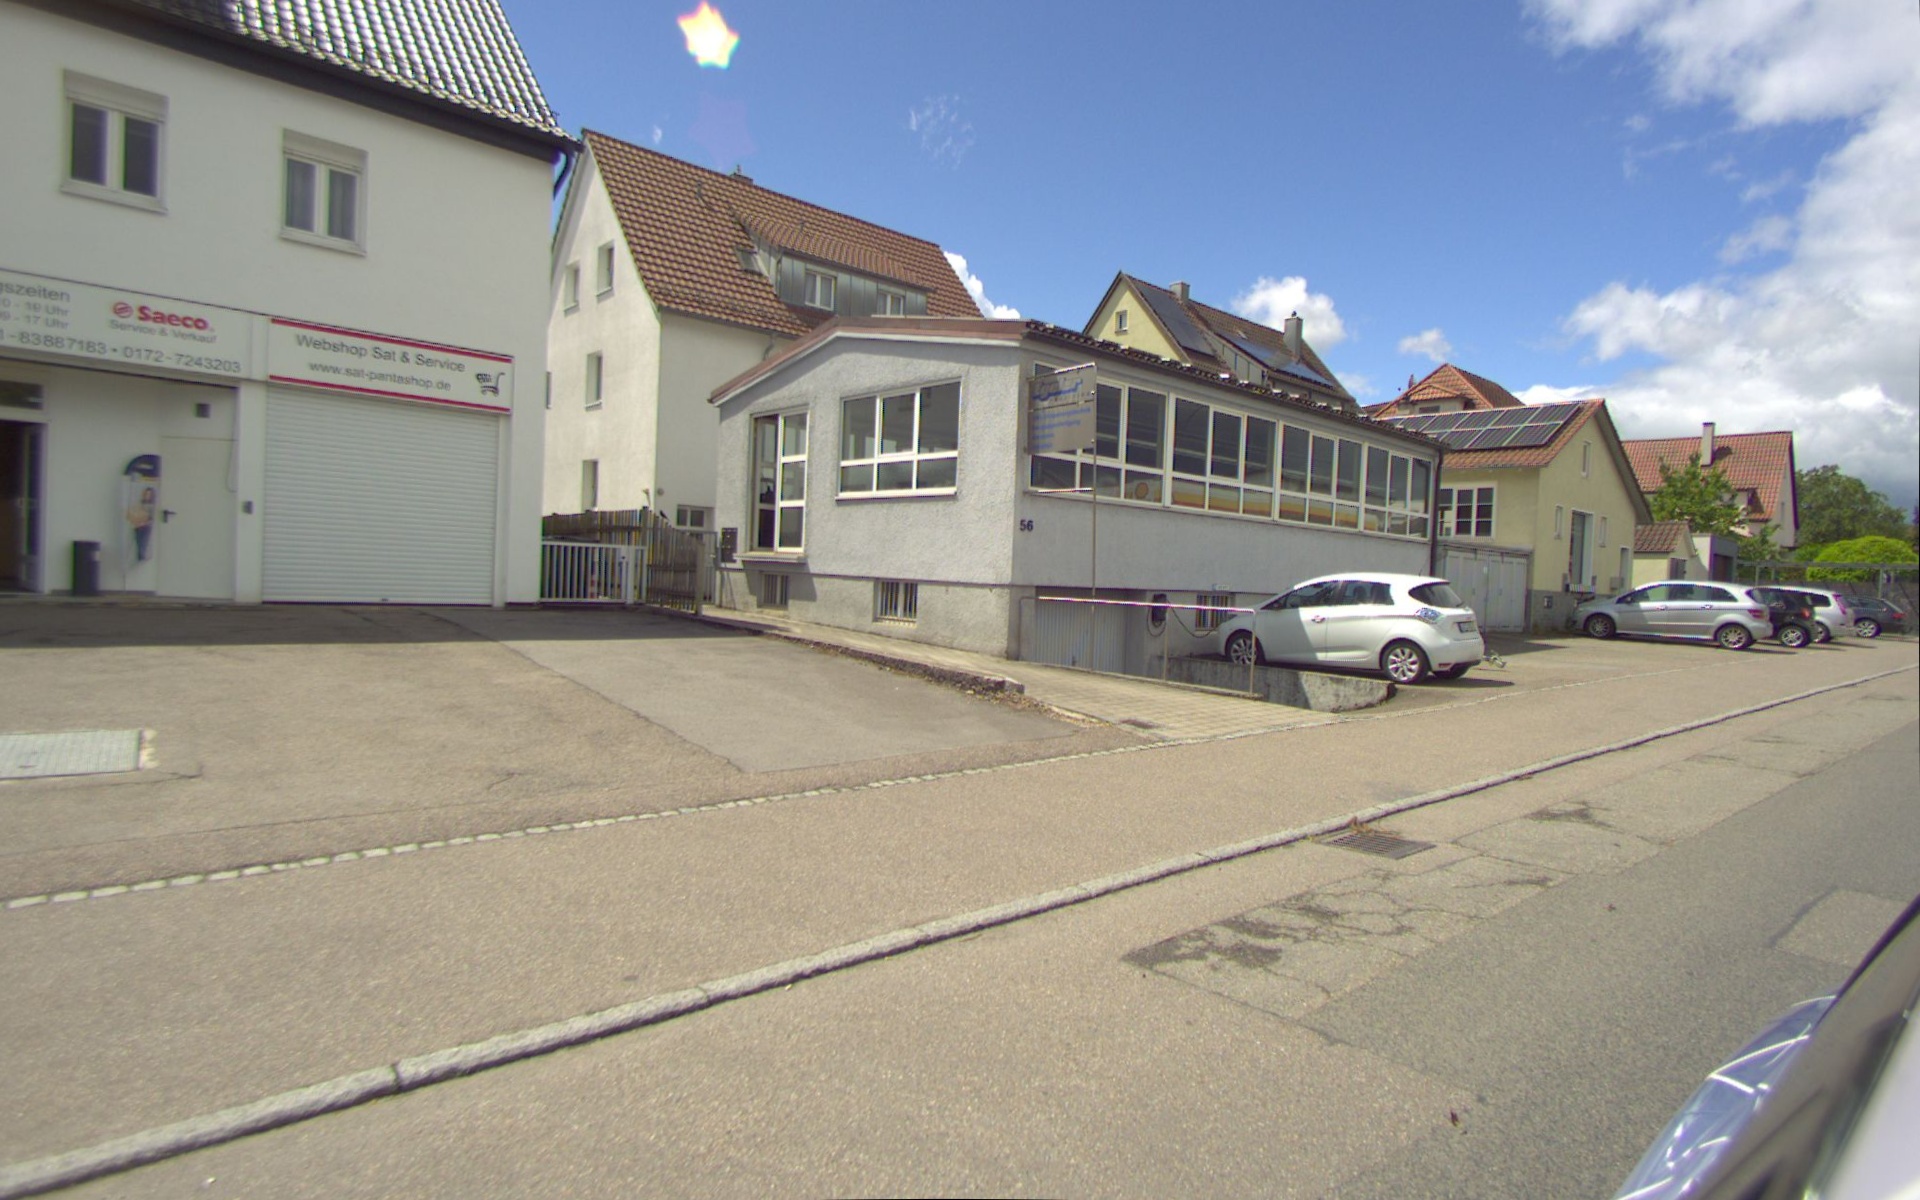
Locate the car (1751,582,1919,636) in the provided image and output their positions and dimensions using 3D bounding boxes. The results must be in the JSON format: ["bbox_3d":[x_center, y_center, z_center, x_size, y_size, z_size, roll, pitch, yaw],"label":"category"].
[{"bbox_3d":[30.752,0.262,35.489,1.941,1.423,4.416,0,5,-43],"label":"car"}]

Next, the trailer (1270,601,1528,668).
[{"bbox_3d":[7.578,0.540,17.742,1.628,0.818,3.824,0,3,-41],"label":"trailer"}]

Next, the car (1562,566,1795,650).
[{"bbox_3d":[18.040,0.128,25.583,1.941,1.627,4.416,0,5,-43],"label":"car"}]

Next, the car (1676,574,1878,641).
[{"bbox_3d":[24.571,0.153,30.553,1.941,1.543,4.416,0,5,-43],"label":"car"}]

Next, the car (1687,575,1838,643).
[{"bbox_3d":[22.077,0.212,27.879,1.941,1.543,2.893,0,5,-43],"label":"car"}]

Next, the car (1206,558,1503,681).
[{"bbox_3d":[5.919,0.231,15.520,1.719,1.629,3.906,0,1,-41],"label":"car"}]
